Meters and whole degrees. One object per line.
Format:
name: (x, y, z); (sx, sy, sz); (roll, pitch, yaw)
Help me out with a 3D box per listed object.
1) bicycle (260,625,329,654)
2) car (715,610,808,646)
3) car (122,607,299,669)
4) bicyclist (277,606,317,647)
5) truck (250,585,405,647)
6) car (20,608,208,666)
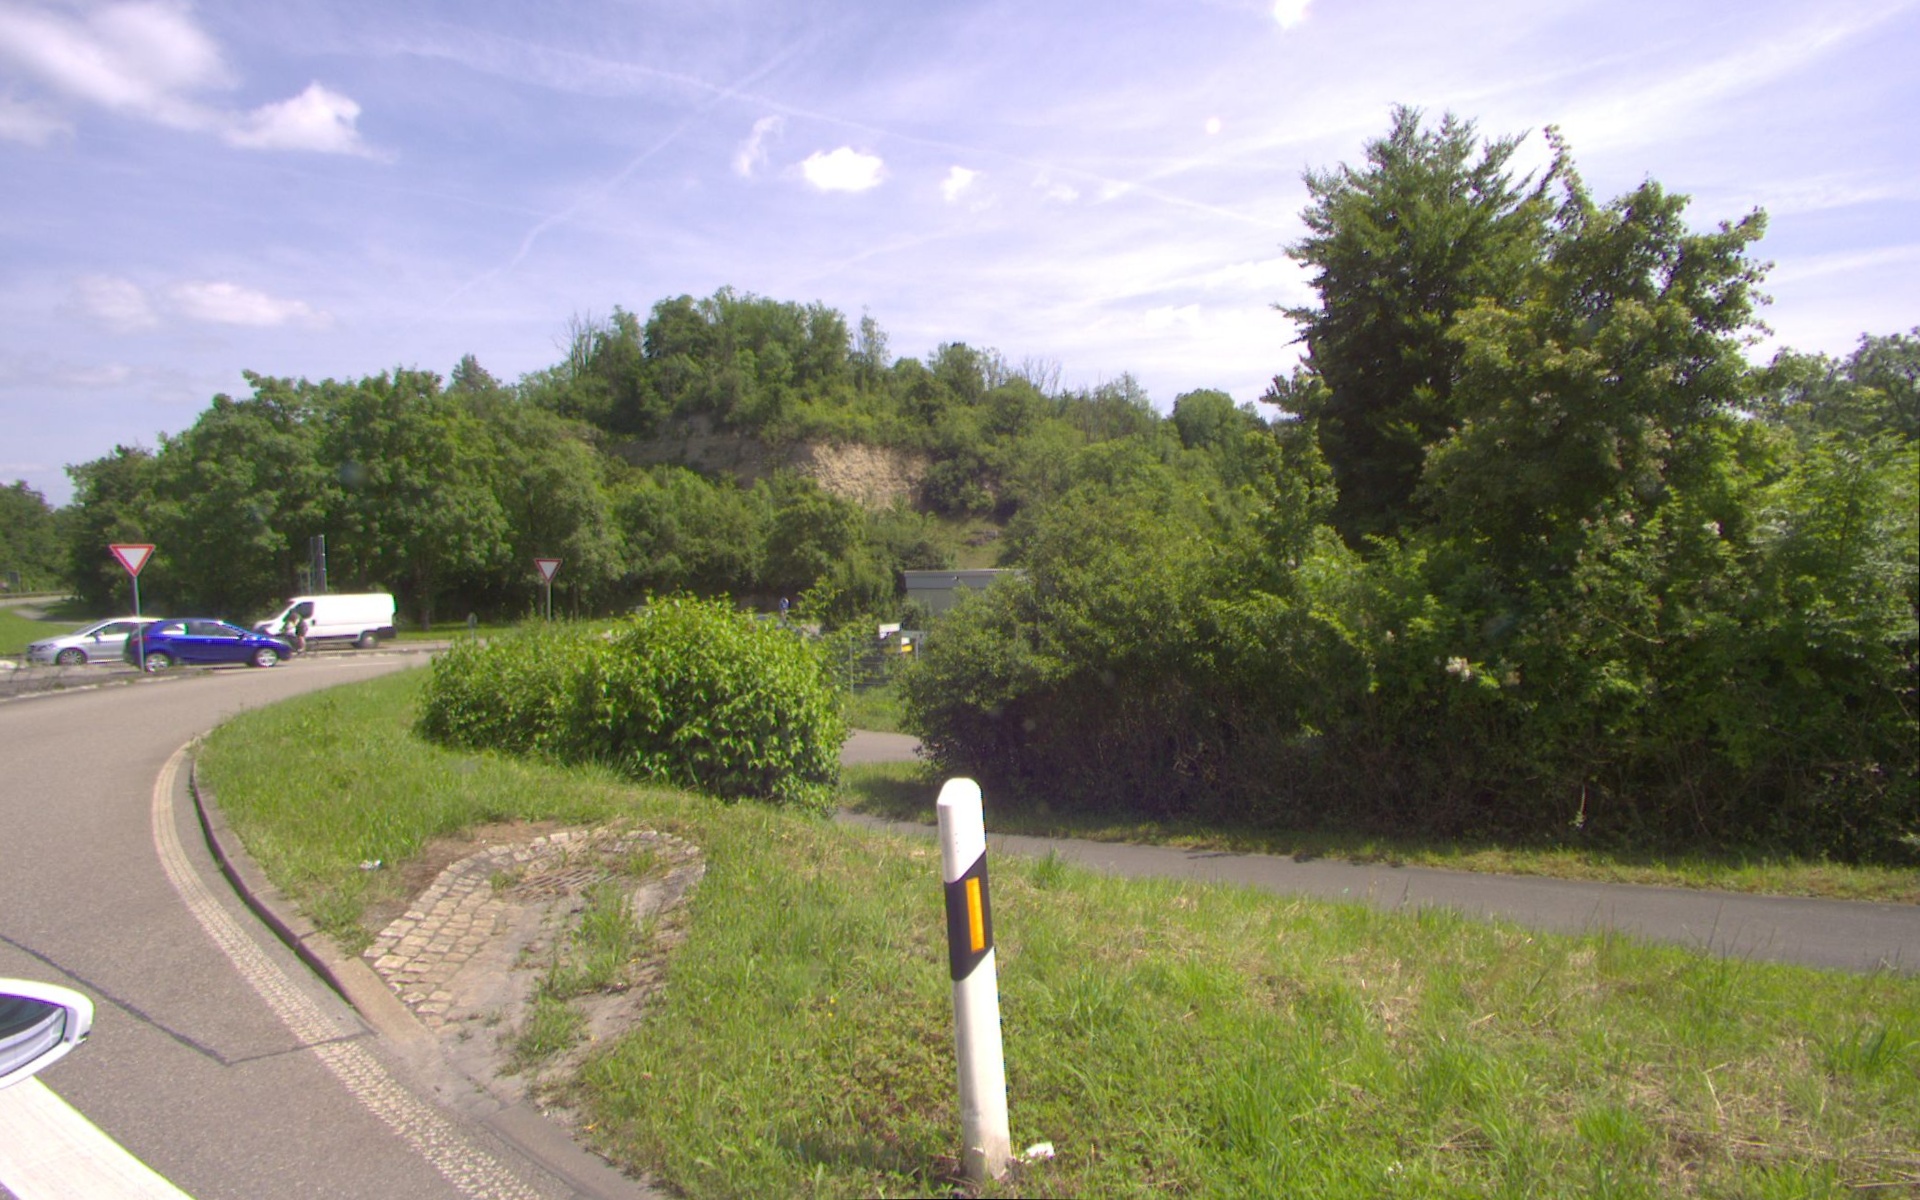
bicycle: (-24.566, 1.455, 36.981); (0.785, 1.008, 1.987); (-3, -2, 29)
car: (-9.119, 1.304, 46.348); (1.970, 1.509, 4.241); (-3, -3, 29)
car: (-21.402, 1.081, 28.679); (1.863, 1.633, 3.822); (-4, -3, 44)
bicyclist: (-24.530, 0.989, 37.054); (0.784, 1.466, 1.004); (-3, -2, 30)
truck: (-25.838, 0.675, 41.038); (5.109, 2.324, 1.983); (1, -3, -43)
car: (-27.656, 1.208, 32.879); (1.975, 1.740, 4.413); (-3, -3, 37)
